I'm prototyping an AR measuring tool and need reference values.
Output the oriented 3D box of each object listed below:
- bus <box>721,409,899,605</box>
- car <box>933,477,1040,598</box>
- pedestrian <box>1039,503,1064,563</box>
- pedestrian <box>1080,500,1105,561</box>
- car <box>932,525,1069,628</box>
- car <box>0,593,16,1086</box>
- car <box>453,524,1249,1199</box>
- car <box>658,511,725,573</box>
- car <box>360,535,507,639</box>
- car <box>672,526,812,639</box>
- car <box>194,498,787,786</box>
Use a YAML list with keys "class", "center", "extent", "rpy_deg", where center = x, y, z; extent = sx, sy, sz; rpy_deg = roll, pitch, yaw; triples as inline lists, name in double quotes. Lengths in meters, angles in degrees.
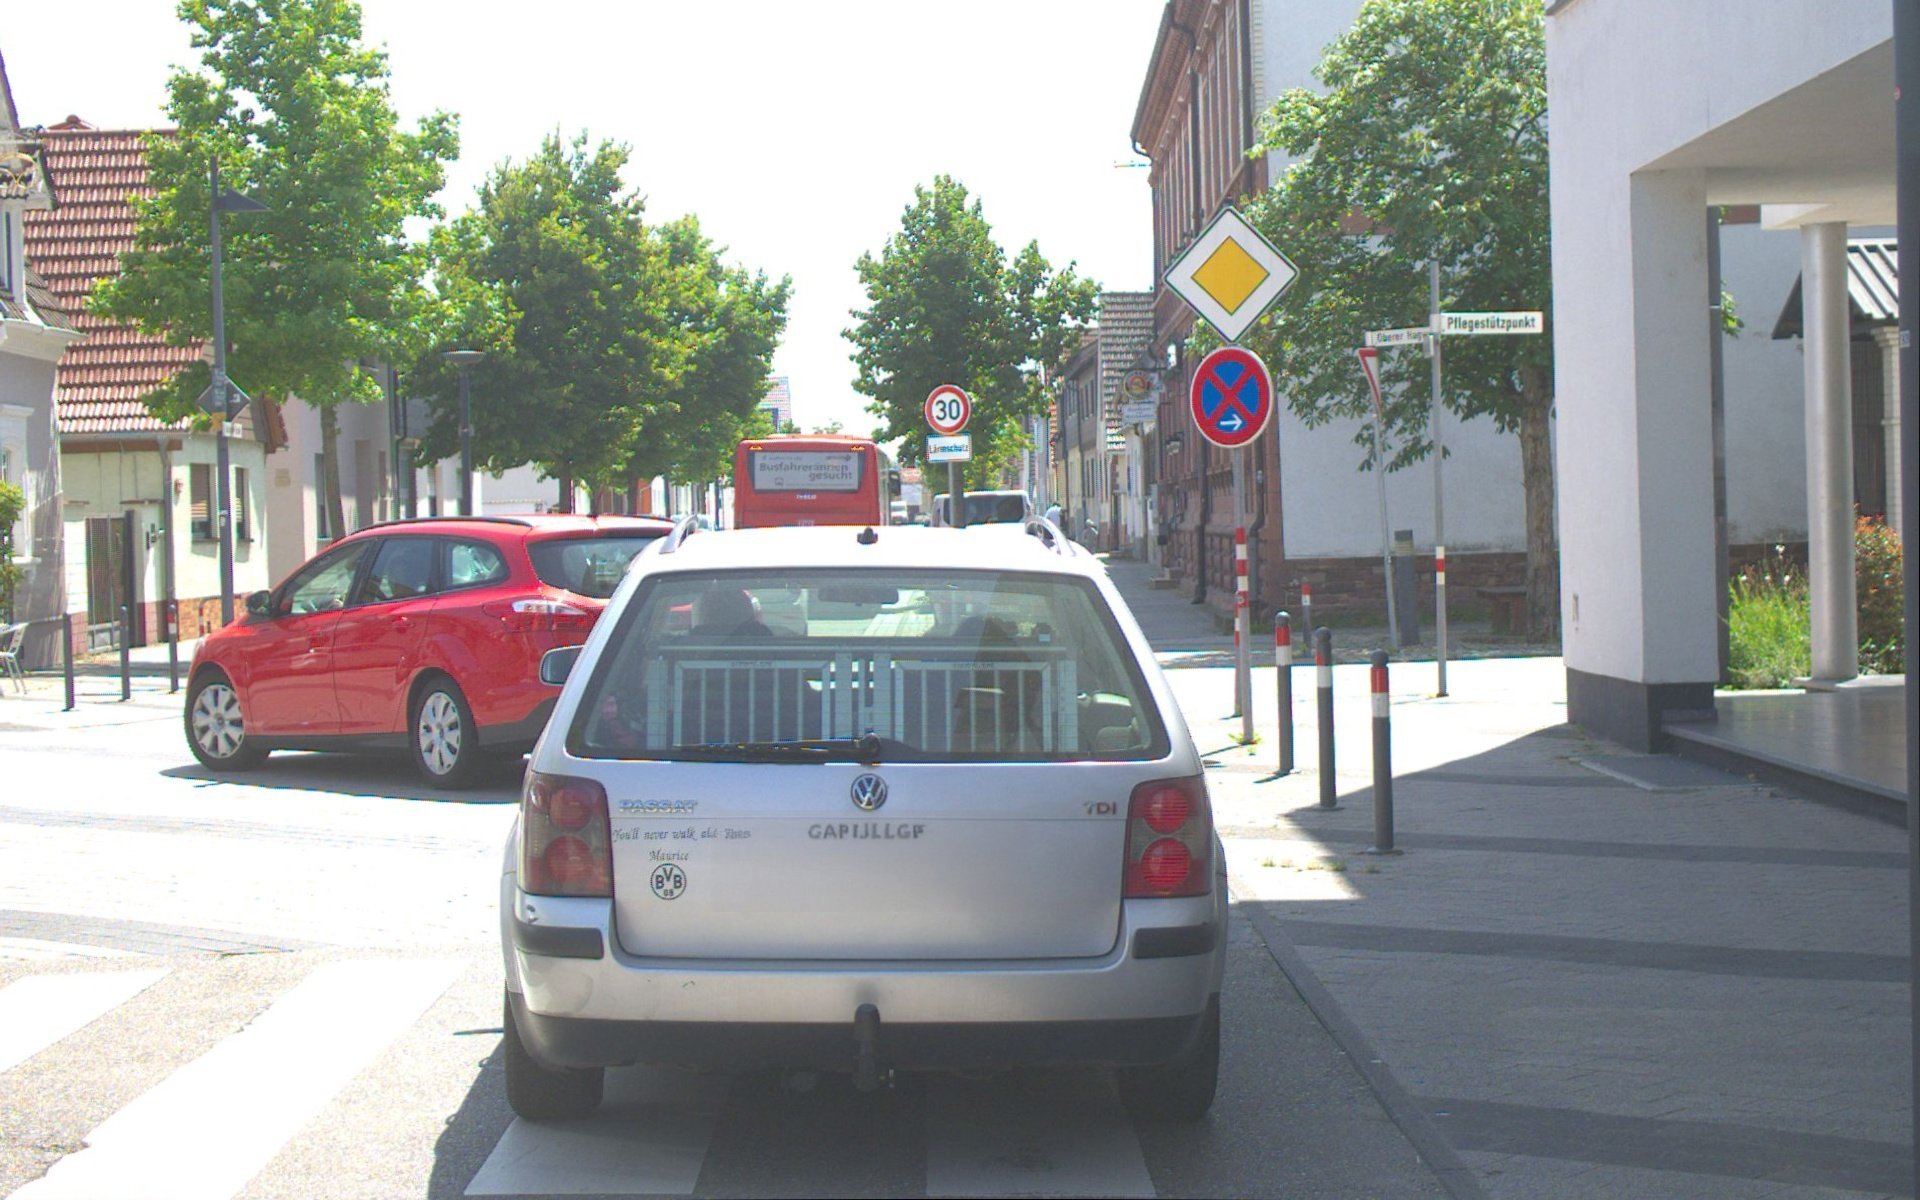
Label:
- class: "bus"
  center: [-2.660, -1.707, 64.762]
  extent: [2.740, 3.287, 12.706]
  rpy_deg: [-1, 1, 0]
- class: "car"
  center: [0.450, -1.133, 61.971]
  extent: [1.787, 2.075, 3.626]
  rpy_deg: [-1, 1, -1]
- class: "pedestrian"
  center: [2.581, -1.888, 96.620]
  extent: [0.606, 1.661, 0.789]
  rpy_deg: [-2, 1, -2]
- class: "pedestrian"
  center: [3.701, -1.947, 96.234]
  extent: [0.606, 1.661, 0.789]
  rpy_deg: [-2, 1, -2]
- class: "car"
  center: [0.512, -0.345, 46.702]
  extent: [1.719, 1.304, 3.626]
  rpy_deg: [-2, 1, -1]
- class: "car"
  center: [-3.380, 0.516, 7.232]
  extent: [1.675, 1.710, 4.233]
  rpy_deg: [-2, 1, -1]
- class: "car"
  center: [-0.253, 0.521, 9.145]
  extent: [1.677, 1.425, 3.680]
  rpy_deg: [1, 1, -1]
- class: "car"
  center: [-8.098, -1.765, 104.047]
  extent: [1.720, 1.795, 4.000]
  rpy_deg: [-1, 1, -1]
- class: "car"
  center: [-7.836, -0.227, 51.473]
  extent: [1.605, 1.433, 4.065]
  rpy_deg: [-2, 1, -1]
- class: "car"
  center: [-2.844, -0.264, 45.435]
  extent: [1.593, 1.425, 3.680]
  rpy_deg: [0, 1, 0]
- class: "car"
  center: [-2.734, 0.198, 19.435]
  extent: [1.677, 1.425, 3.678]
  rpy_deg: [-3, 2, -38]
